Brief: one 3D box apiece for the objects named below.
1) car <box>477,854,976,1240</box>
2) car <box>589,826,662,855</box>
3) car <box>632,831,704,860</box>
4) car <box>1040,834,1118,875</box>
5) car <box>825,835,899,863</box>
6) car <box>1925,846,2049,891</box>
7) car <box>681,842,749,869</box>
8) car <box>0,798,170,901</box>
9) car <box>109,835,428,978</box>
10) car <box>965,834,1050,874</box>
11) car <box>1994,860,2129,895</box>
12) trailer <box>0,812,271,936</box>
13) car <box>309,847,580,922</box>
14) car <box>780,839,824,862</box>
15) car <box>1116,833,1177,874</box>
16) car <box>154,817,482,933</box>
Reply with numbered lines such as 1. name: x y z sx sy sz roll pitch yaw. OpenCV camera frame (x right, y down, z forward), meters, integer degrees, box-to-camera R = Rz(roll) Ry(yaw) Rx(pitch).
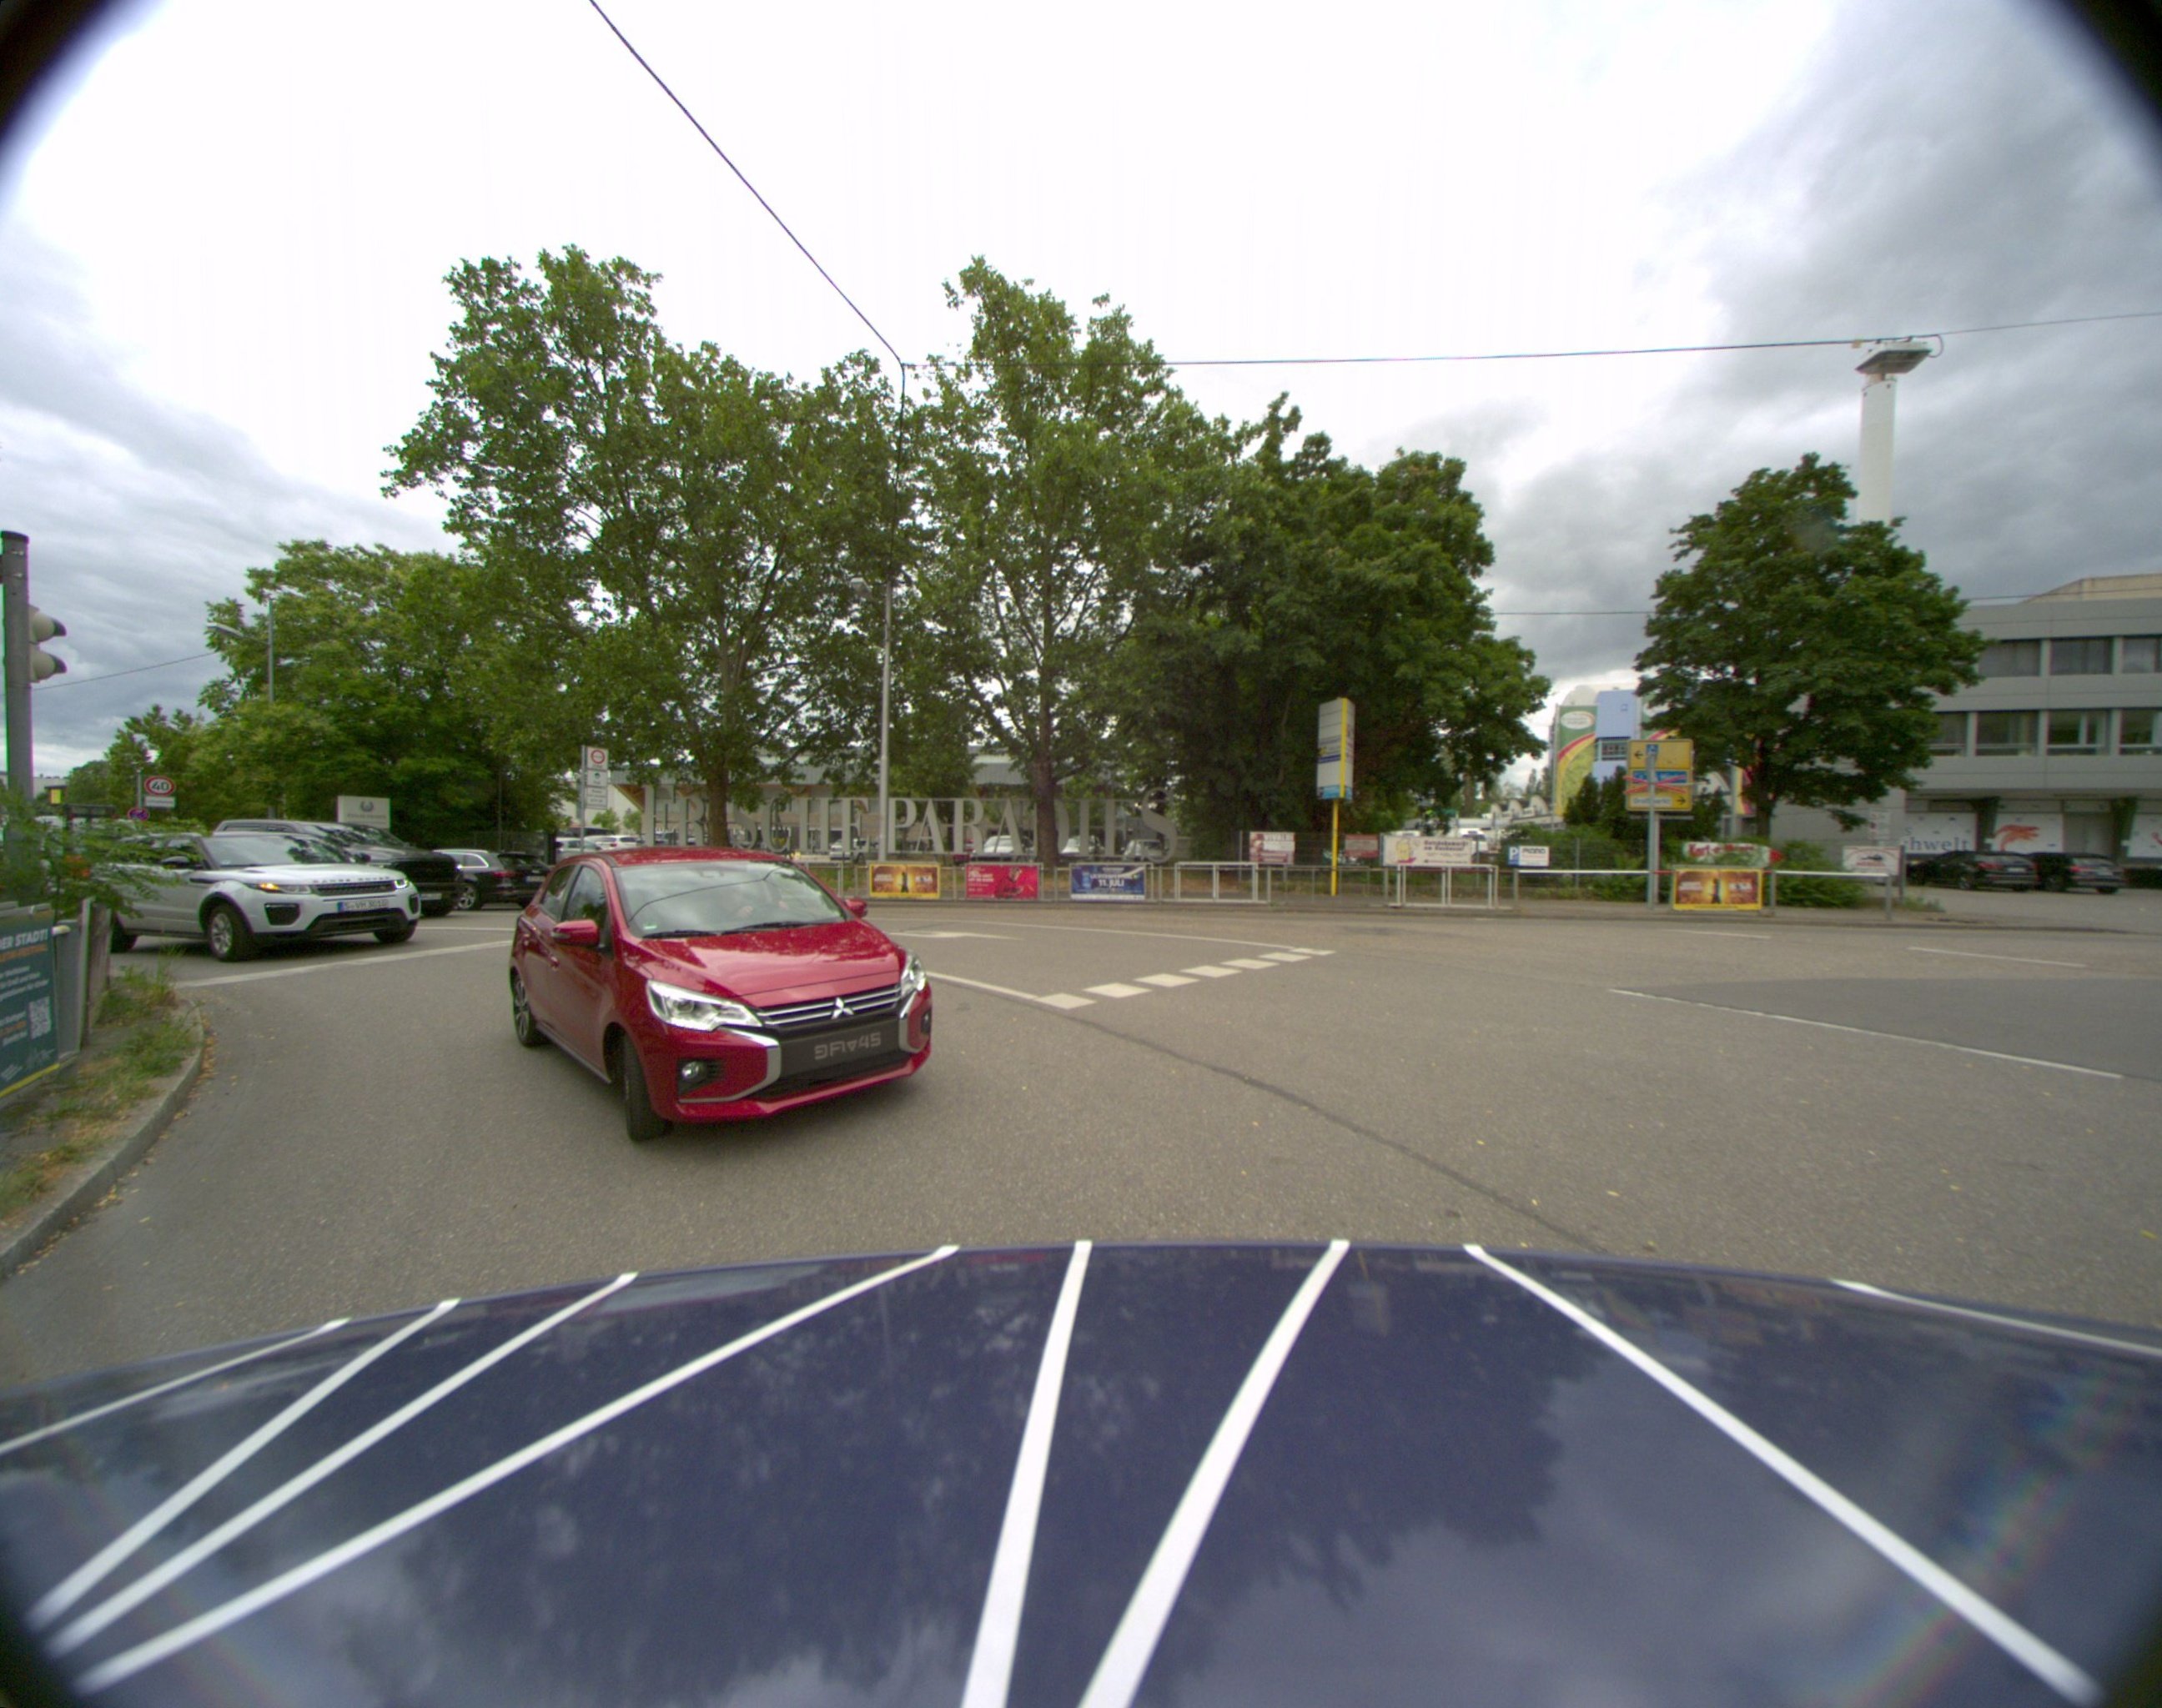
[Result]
1. car: -2.574 0.806 5.075 3.729 1.521 1.771 1 2 44
2. car: -28.571 -0.853 47.831 1.914 1.690 4.001 1 1 6
3. car: -25.406 -0.522 46.903 1.914 1.690 4.001 1 1 6
4. car: 0.013 -0.025 31.268 1.996 1.449 4.704 -2 2 15
5. car: -12.974 -0.343 45.370 1.935 1.423 5.254 -2 2 11
6. car: 38.485 0.590 32.406 1.774 1.669 3.576 -2 2 18
7. car: -22.234 0.061 46.330 1.914 1.499 4.001 1 1 6
8. car: -28.722 -0.058 20.842 6.471 2.527 2.194 -2 2 16
9. car: -11.193 0.559 10.455 4.102 1.561 1.920 1 3 28
10. car: -2.988 -0.061 32.195 1.996 1.449 4.704 -2 2 15
11. car: 40.925 0.953 31.851 1.774 1.171 3.576 -2 2 18
12. trailer: -20.516 0.335 16.259 5.377 2.374 2.154 1 1 17
13. car: -15.113 0.744 18.155 5.214 1.448 2.002 -3 -3 9
14. car: -21.708 -0.300 59.272 1.751 1.674 3.572 -2 2 6
15. car: 2.770 -0.076 31.196 1.997 1.449 4.702 -2 2 10
16. car: -15.023 0.294 14.996 5.858 1.968 1.952 2 3 16
